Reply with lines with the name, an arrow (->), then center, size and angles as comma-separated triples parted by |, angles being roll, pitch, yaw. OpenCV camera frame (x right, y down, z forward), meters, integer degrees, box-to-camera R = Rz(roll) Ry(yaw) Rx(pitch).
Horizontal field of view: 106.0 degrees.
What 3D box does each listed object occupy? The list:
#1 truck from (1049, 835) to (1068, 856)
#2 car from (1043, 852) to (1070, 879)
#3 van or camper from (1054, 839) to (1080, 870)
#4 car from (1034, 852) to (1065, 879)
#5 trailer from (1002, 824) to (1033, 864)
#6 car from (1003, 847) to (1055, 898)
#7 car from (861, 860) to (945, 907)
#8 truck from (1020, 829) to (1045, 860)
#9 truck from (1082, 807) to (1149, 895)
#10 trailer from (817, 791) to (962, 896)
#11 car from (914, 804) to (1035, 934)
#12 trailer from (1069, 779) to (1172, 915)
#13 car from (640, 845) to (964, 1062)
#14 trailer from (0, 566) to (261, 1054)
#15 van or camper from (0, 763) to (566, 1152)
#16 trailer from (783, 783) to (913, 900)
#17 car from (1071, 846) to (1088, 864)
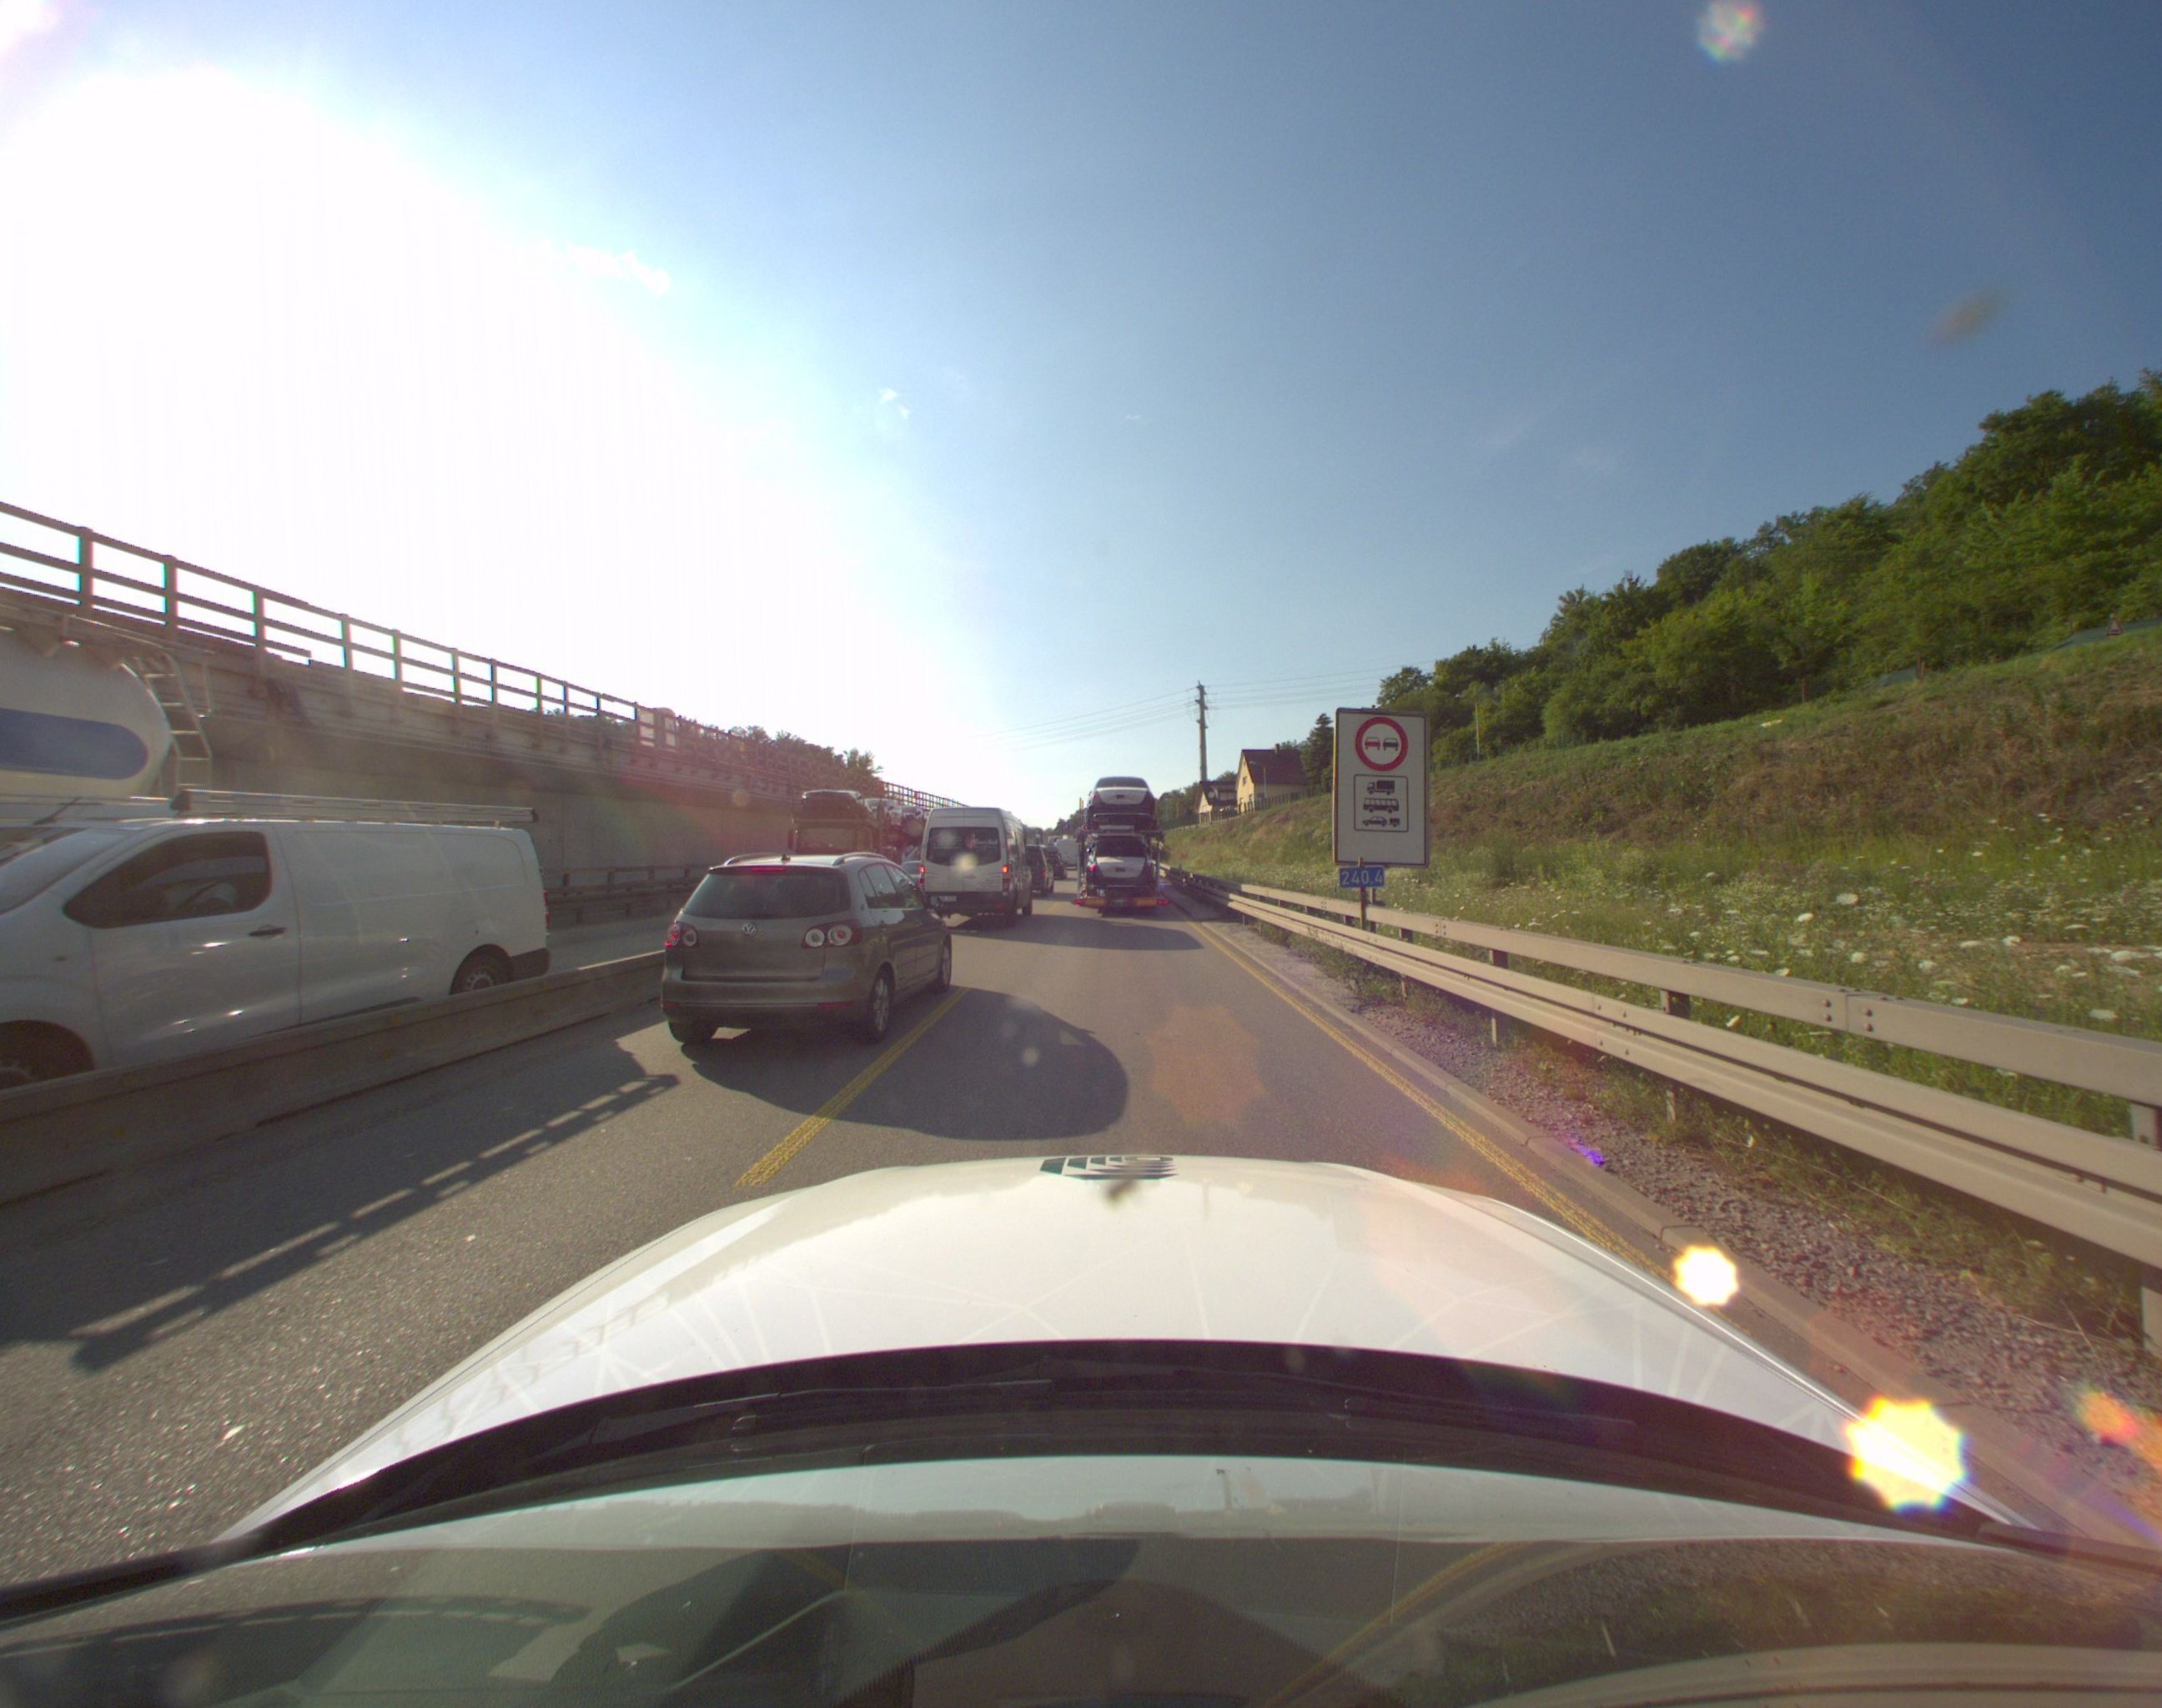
truck -> -3.812, -1.406, 139.668 | 2.705, 3.424, 8.141 | -3, 0, 1
car -> -2.389, 1.119, 81.887 | 2.463, 2.534, 4.001 | -1, 0, 1
van or camper -> -1.165, 0.062, 69.439 | 1.961, 2.591, 5.044 | 0, 0, 2
car -> -1.845, 0.684, 48.961 | 1.720, 1.522, 3.973 | 0, 1, 0
trailer -> -6.774, -1.067, 87.737 | 2.754, 4.141, 5.978 | 0, 1, 1
car -> -1.987, 0.693, 32.369 | 1.802, 1.904, 3.999 | 0, -1, 0
car -> -5.992, 0.952, 27.989 | 1.702, 1.445, 4.602 | 0, 0, 2
truck -> -6.494, -1.209, 109.283 | 2.850, 4.008, 5.659 | 0, 0, 1
truck -> 1.521, -0.126, 36.336 | 2.672, 3.534, 7.196 | 0, 0, 2
trailer -> -8.570, -0.374, 39.346 | 2.761, 4.031, 15.770 | 0, 0, 2
car -> -2.373, 0.279, 19.683 | 1.986, 2.648, 5.533 | -1, 1, 2
trailer -> 1.280, -0.161, 28.845 | 2.672, 3.534, 15.295 | 0, 0, 2
car -> -2.386, 0.766, 8.193 | 1.674, 1.588, 4.273 | -1, -1, 1
trailer -> -9.959, -0.368, 1.685 | 2.643, 3.850, 13.446 | 0, 0, 1
van or camper -> -6.506, 0.546, 6.104 | 1.852, 2.014, 5.296 | 0, 0, 1
trailer -> -8.771, -0.410, 31.629 | 2.761, 4.031, 7.211 | 0, 0, 2
car -> -0.133, 0.129, 95.031 | 1.879, 2.100, 3.766 | 0, 0, 1
